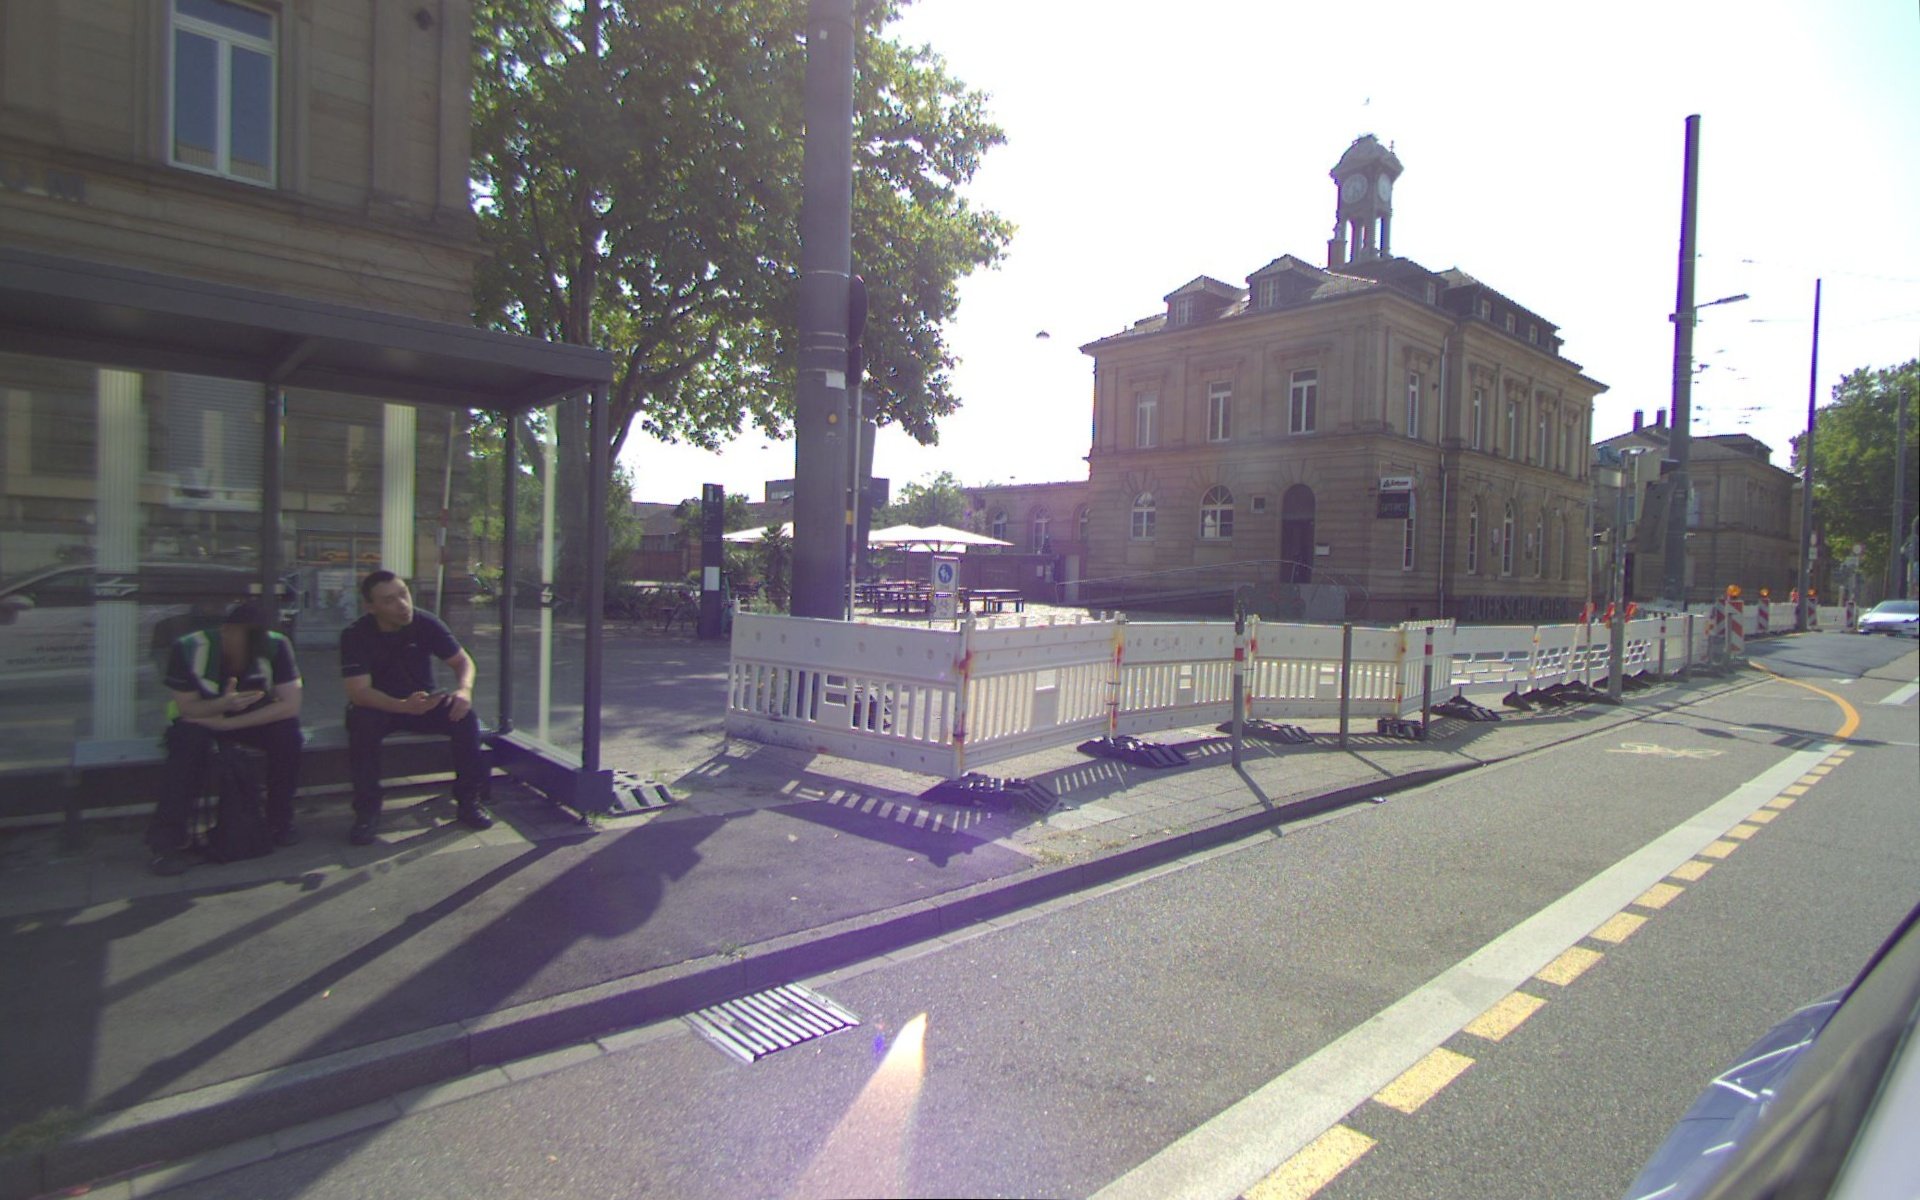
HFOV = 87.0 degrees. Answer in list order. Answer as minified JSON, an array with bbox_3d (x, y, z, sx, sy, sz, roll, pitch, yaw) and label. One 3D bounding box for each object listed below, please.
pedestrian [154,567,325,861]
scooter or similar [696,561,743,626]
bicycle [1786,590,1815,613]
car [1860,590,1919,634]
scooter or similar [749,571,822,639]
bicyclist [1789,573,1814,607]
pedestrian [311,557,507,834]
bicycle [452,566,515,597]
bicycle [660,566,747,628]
[{"bbox_3d":[-3.386,0.483,4.748,0.565,1.232,0.609,0,4,-43],"label":"pedestrian"},{"bbox_3d":[-4.460,-0.129,18.748,0.307,1.146,1.093,0,2,-44],"label":"scooter or similar"},{"bbox_3d":[41.548,0.072,49.997,2.095,1.045,0.743,0,2,-41],"label":"bicycle"},{"bbox_3d":[35.711,0.430,38.322,3.930,1.477,1.844,0,4,-41],"label":"car"},{"bbox_3d":[-3.103,0.083,18.059,1.203,1.180,0.410,0,2,-37],"label":"scooter or similar"},{"bbox_3d":[41.531,-0.511,49.951,0.838,1.645,0.736,0,2,-41],"label":"bicyclist"},{"bbox_3d":[-2.866,0.443,5.265,0.746,1.292,0.609,0,4,-44],"label":"pedestrian"},{"bbox_3d":[-15.435,-0.596,32.815,1.760,0.910,0.570,3,1,-34],"label":"bicycle"},{"bbox_3d":[-5.113,-0.065,20.229,1.599,1.180,0.500,0,2,-37],"label":"bicycle"}]
